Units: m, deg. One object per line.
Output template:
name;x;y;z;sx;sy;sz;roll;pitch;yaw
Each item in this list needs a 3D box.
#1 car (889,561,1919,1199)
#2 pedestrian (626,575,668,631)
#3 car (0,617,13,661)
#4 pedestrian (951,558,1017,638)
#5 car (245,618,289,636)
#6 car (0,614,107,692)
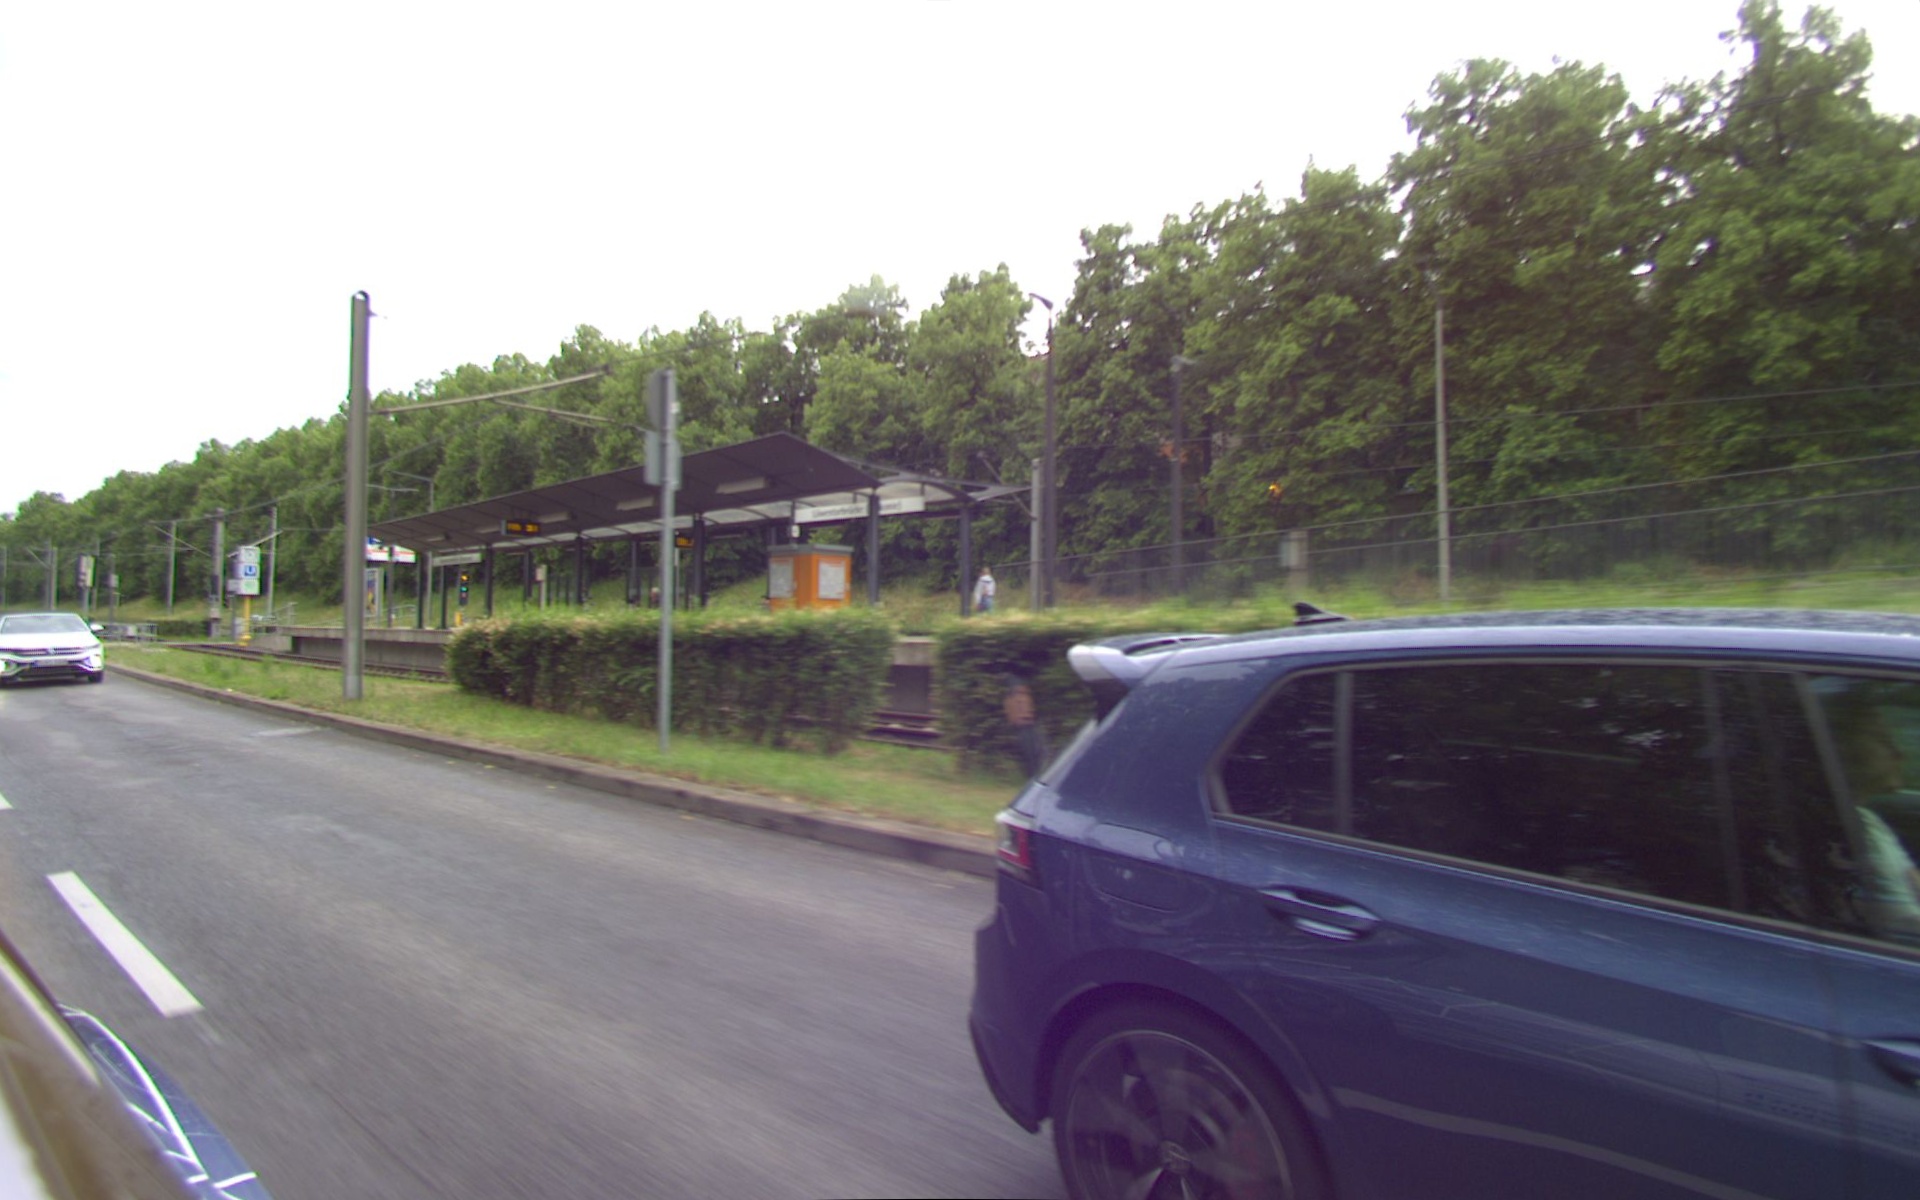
car;2.050;0.634;1.769;4.344;1.389;1.789;-1;0;41
pedestrian;-7.858;0.085;25.404;0.692;1.366;0.745;-1;-1;40
car;-35.909;1.413;36.823;4.701;1.492;1.933;0;1;45
pedestrian;0.506;-0.026;21.265;1.027;1.623;0.925;-1;-1;43
car;-55.665;2.151;81.268;3.995;1.414;1.778;-1;-1;39
car;-19.872;1.060;21.795;1.933;1.476;4.702;1;-1;-45
